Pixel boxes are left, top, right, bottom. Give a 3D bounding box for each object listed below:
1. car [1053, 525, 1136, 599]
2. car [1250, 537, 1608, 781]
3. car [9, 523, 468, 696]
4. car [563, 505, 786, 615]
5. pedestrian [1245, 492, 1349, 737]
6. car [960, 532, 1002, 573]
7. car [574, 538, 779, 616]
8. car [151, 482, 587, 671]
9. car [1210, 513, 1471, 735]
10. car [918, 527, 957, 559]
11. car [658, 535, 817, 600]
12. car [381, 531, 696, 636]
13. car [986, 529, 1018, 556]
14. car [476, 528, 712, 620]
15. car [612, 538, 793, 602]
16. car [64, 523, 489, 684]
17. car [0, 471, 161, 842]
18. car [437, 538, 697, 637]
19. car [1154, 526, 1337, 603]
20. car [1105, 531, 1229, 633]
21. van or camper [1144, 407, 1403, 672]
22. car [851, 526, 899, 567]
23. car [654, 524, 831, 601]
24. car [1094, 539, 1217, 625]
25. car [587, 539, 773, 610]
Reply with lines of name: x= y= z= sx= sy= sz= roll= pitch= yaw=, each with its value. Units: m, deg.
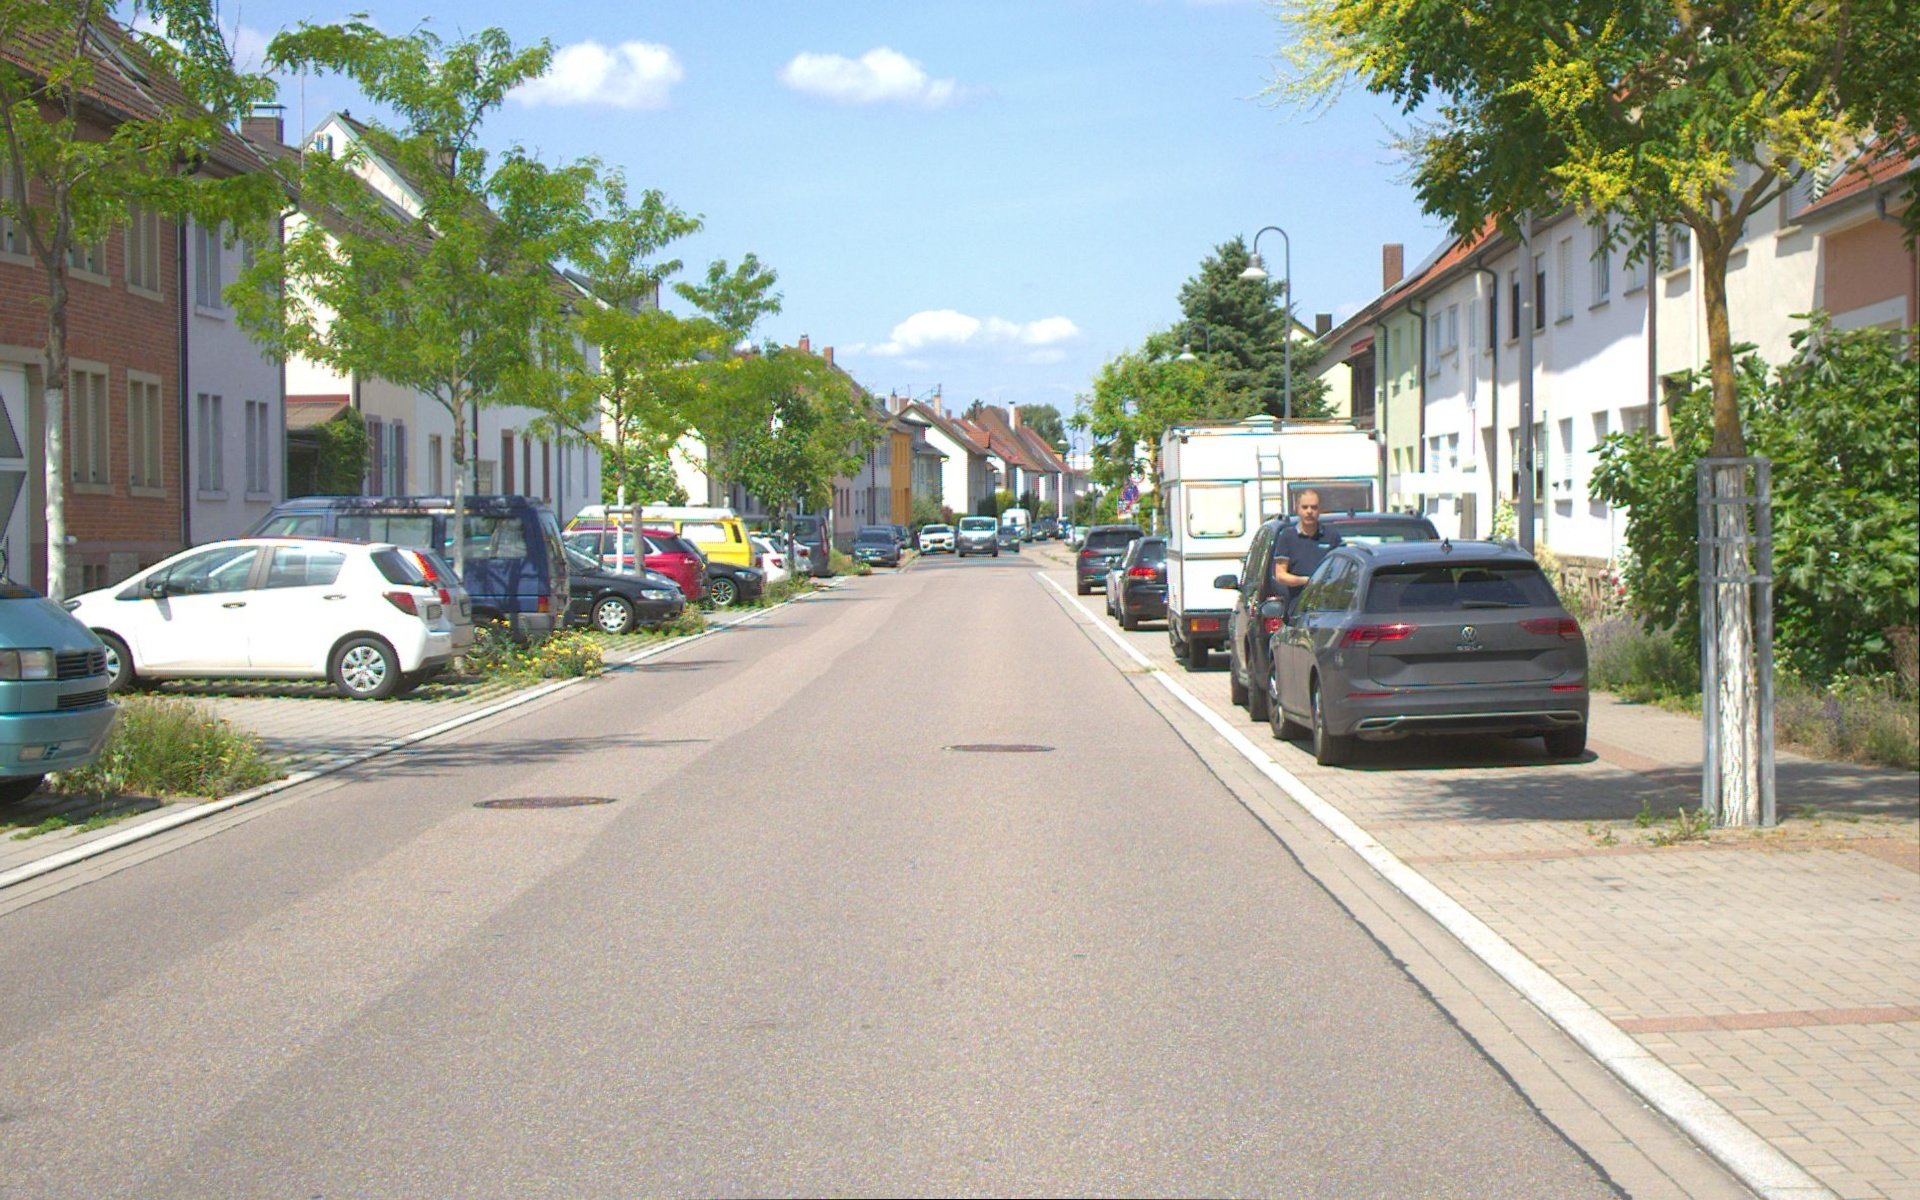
car: x=3.213 y=-0.921 z=81.571 sx=1.864 sy=1.630 sz=4.446 roll=-1 pitch=1 yaw=3
car: x=3.090 y=0.335 z=23.460 sx=1.767 sy=1.483 sz=4.297 roll=1 pitch=1 yaw=-1
car: x=-6.814 y=0.076 z=32.714 sx=3.916 sy=1.483 sz=1.772 roll=2 pitch=1 yaw=3
car: x=-6.063 y=-0.857 z=73.316 sx=4.508 sy=2.170 sz=1.925 roll=2 pitch=1 yaw=1
pedestrian: x=2.578 y=0.106 z=26.343 sx=0.716 sy=1.847 sz=0.578 roll=1 pitch=1 yaw=1
car: x=1.035 y=-2.329 z=169.231 sx=2.022 sy=1.943 sz=4.898 roll=0 pitch=0 yaw=0
car: x=-5.802 y=-0.477 z=70.647 sx=4.010 sy=1.454 sz=1.755 roll=2 pitch=1 yaw=1
car: x=-6.795 y=-0.284 z=39.852 sx=4.613 sy=1.989 sz=1.953 roll=2 pitch=1 yaw=3
car: x=3.124 y=0.160 z=28.955 sx=1.767 sy=1.699 sz=4.325 roll=1 pitch=1 yaw=1
car: x=-1.227 y=-3.125 z=189.355 sx=1.850 sy=1.653 sz=3.999 roll=3 pitch=1 yaw=4
car: x=-5.982 y=-0.868 z=92.719 sx=4.182 sy=1.563 sz=1.774 roll=2 pitch=0 yaw=-3
car: x=-6.368 y=-0.262 z=52.277 sx=4.524 sy=1.421 sz=1.796 roll=2 pitch=1 yaw=1
car: x=2.388 y=-3.276 z=195.550 sx=1.762 sy=1.517 sz=4.049 roll=-1 pitch=1 yaw=0
car: x=-6.930 y=-0.498 z=65.398 sx=4.253 sy=1.606 sz=1.843 roll=2 pitch=1 yaw=0
car: x=-6.415 y=-0.737 z=85.848 sx=4.295 sy=1.463 sz=1.774 roll=2 pitch=0 yaw=3
car: x=-6.947 y=0.021 z=35.181 sx=3.916 sy=1.483 sz=1.772 roll=2 pitch=1 yaw=3
car: x=-6.970 y=0.199 z=18.738 sx=4.677 sy=1.900 sz=2.000 roll=2 pitch=0 yaw=1
car: x=-6.400 y=-0.214 z=56.268 sx=4.053 sy=1.473 sz=1.776 roll=2 pitch=1 yaw=-2
car: x=7.570 y=-0.934 z=91.429 sx=4.618 sy=1.887 sz=2.020 roll=2 pitch=0 yaw=0
car: x=3.233 y=-0.300 z=54.254 sx=1.767 sy=1.524 sz=4.007 roll=1 pitch=1 yaw=1
van or camper: x=3.497 y=-0.702 z=39.500 sx=2.473 sy=2.800 sz=5.790 roll=0 pitch=1 yaw=0
car: x=-3.469 y=-2.190 z=140.470 sx=1.816 sy=1.428 sz=4.140 roll=4 pitch=2 yaw=-2
car: x=-6.011 y=-1.038 z=95.467 sx=4.700 sy=1.916 sz=1.938 roll=2 pitch=0 yaw=1
car: x=3.471 y=-0.345 z=61.680 sx=1.832 sy=1.460 sz=4.520 roll=1 pitch=1 yaw=-1
car: x=-6.349 y=-0.575 z=77.831 sx=4.071 sy=1.463 sz=1.754 roll=2 pitch=1 yaw=-7
